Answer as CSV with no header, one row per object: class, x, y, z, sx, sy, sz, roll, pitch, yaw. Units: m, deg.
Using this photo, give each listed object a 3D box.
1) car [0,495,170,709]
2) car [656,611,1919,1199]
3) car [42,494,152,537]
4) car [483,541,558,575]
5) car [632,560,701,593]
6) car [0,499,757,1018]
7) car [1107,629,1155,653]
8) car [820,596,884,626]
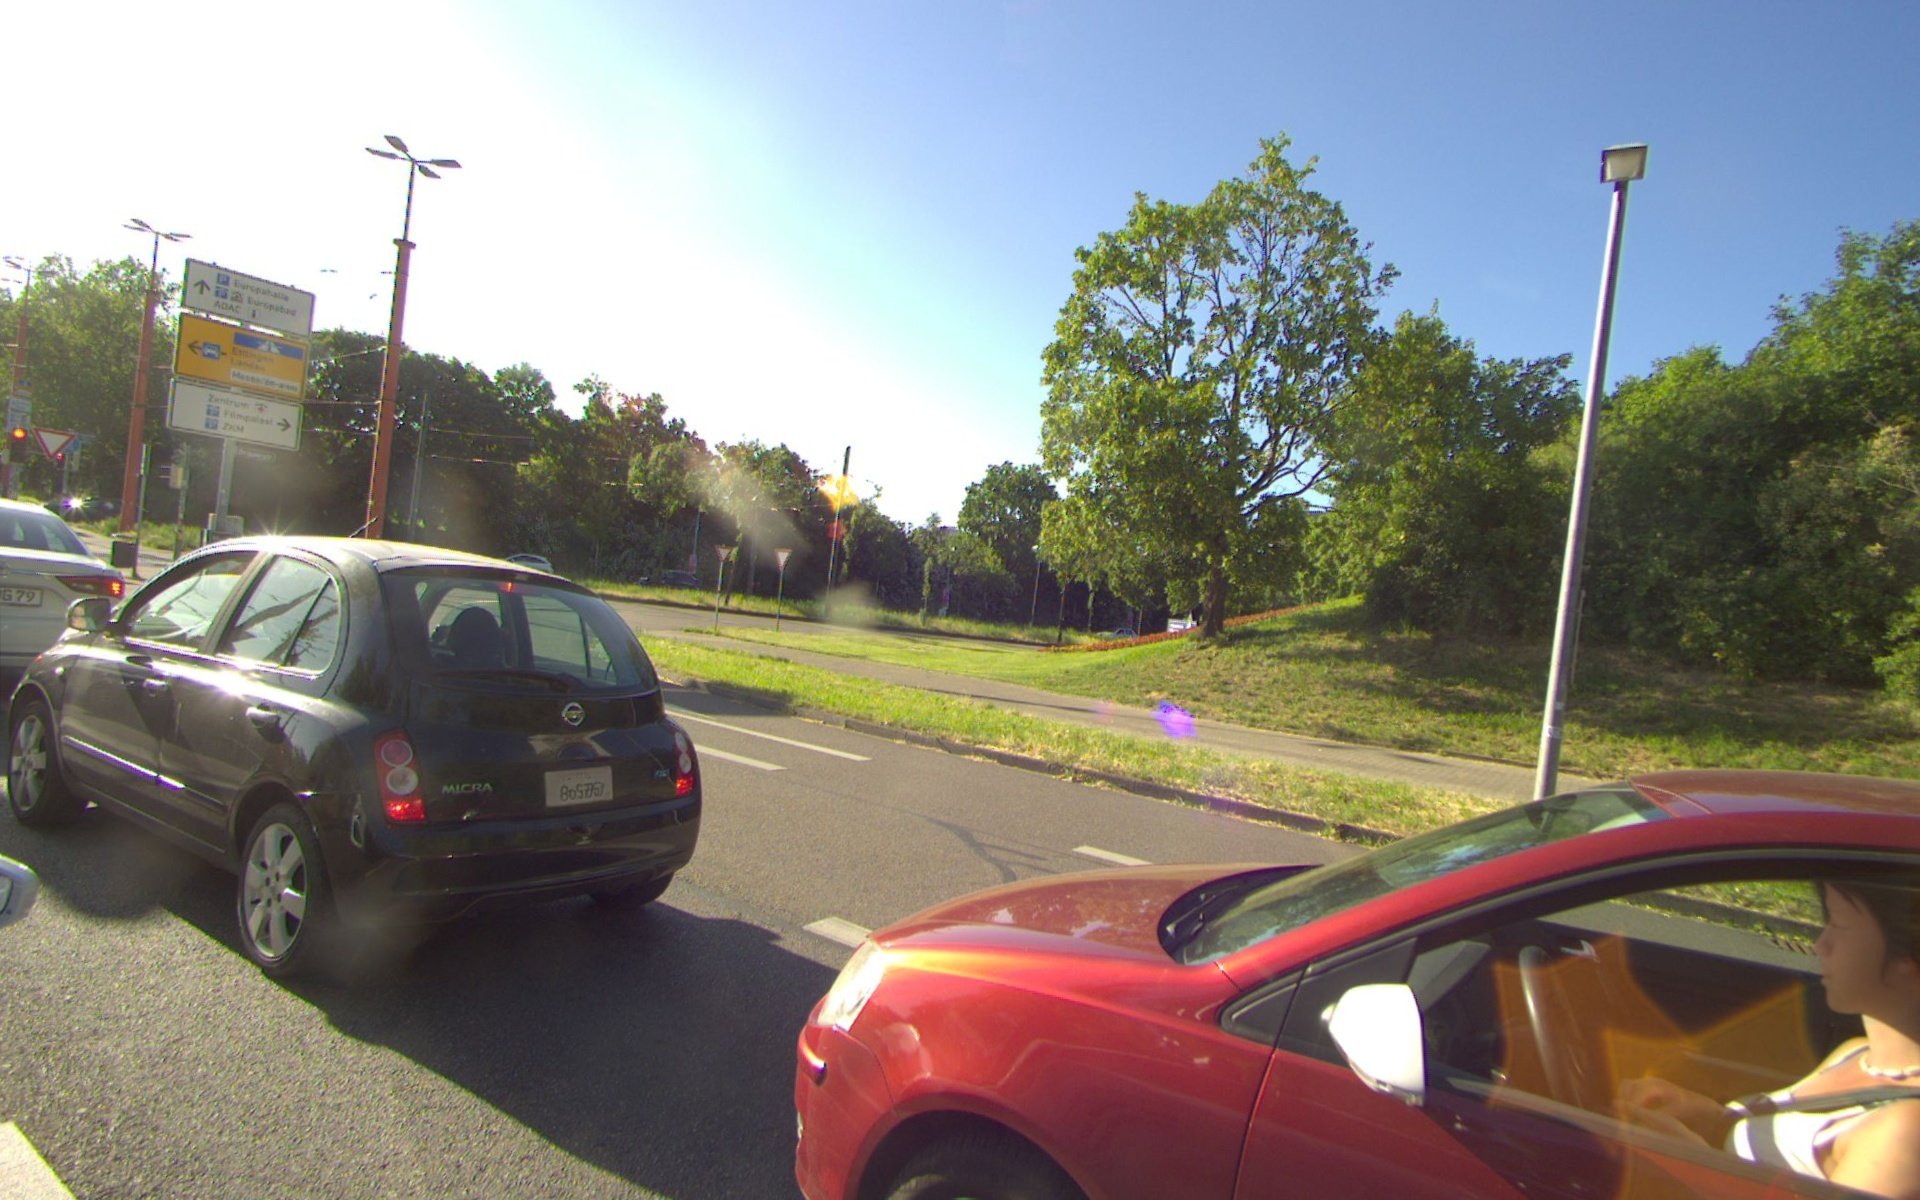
car,-8.373,-0.177,8.078,4.256,1.457,1.802,6,-2,33
car,1.342,1.000,1.867,3.629,1.477,1.579,6,-2,32
car,-43.656,-4.237,51.001,3.888,1.474,1.643,8,-1,-32
car,-26.854,-2.565,61.460,3.888,1.474,1.643,8,-1,-32
car,-18.322,-1.476,62.785,3.764,1.528,1.644,8,-1,-31
car,-2.801,0.465,4.623,3.385,1.457,1.579,6,-2,32
car,14.547,3.483,85.549,3.764,1.528,1.644,8,-1,-31
car,-7.761,0.806,72.476,4.105,1.528,1.644,8,-1,-31
